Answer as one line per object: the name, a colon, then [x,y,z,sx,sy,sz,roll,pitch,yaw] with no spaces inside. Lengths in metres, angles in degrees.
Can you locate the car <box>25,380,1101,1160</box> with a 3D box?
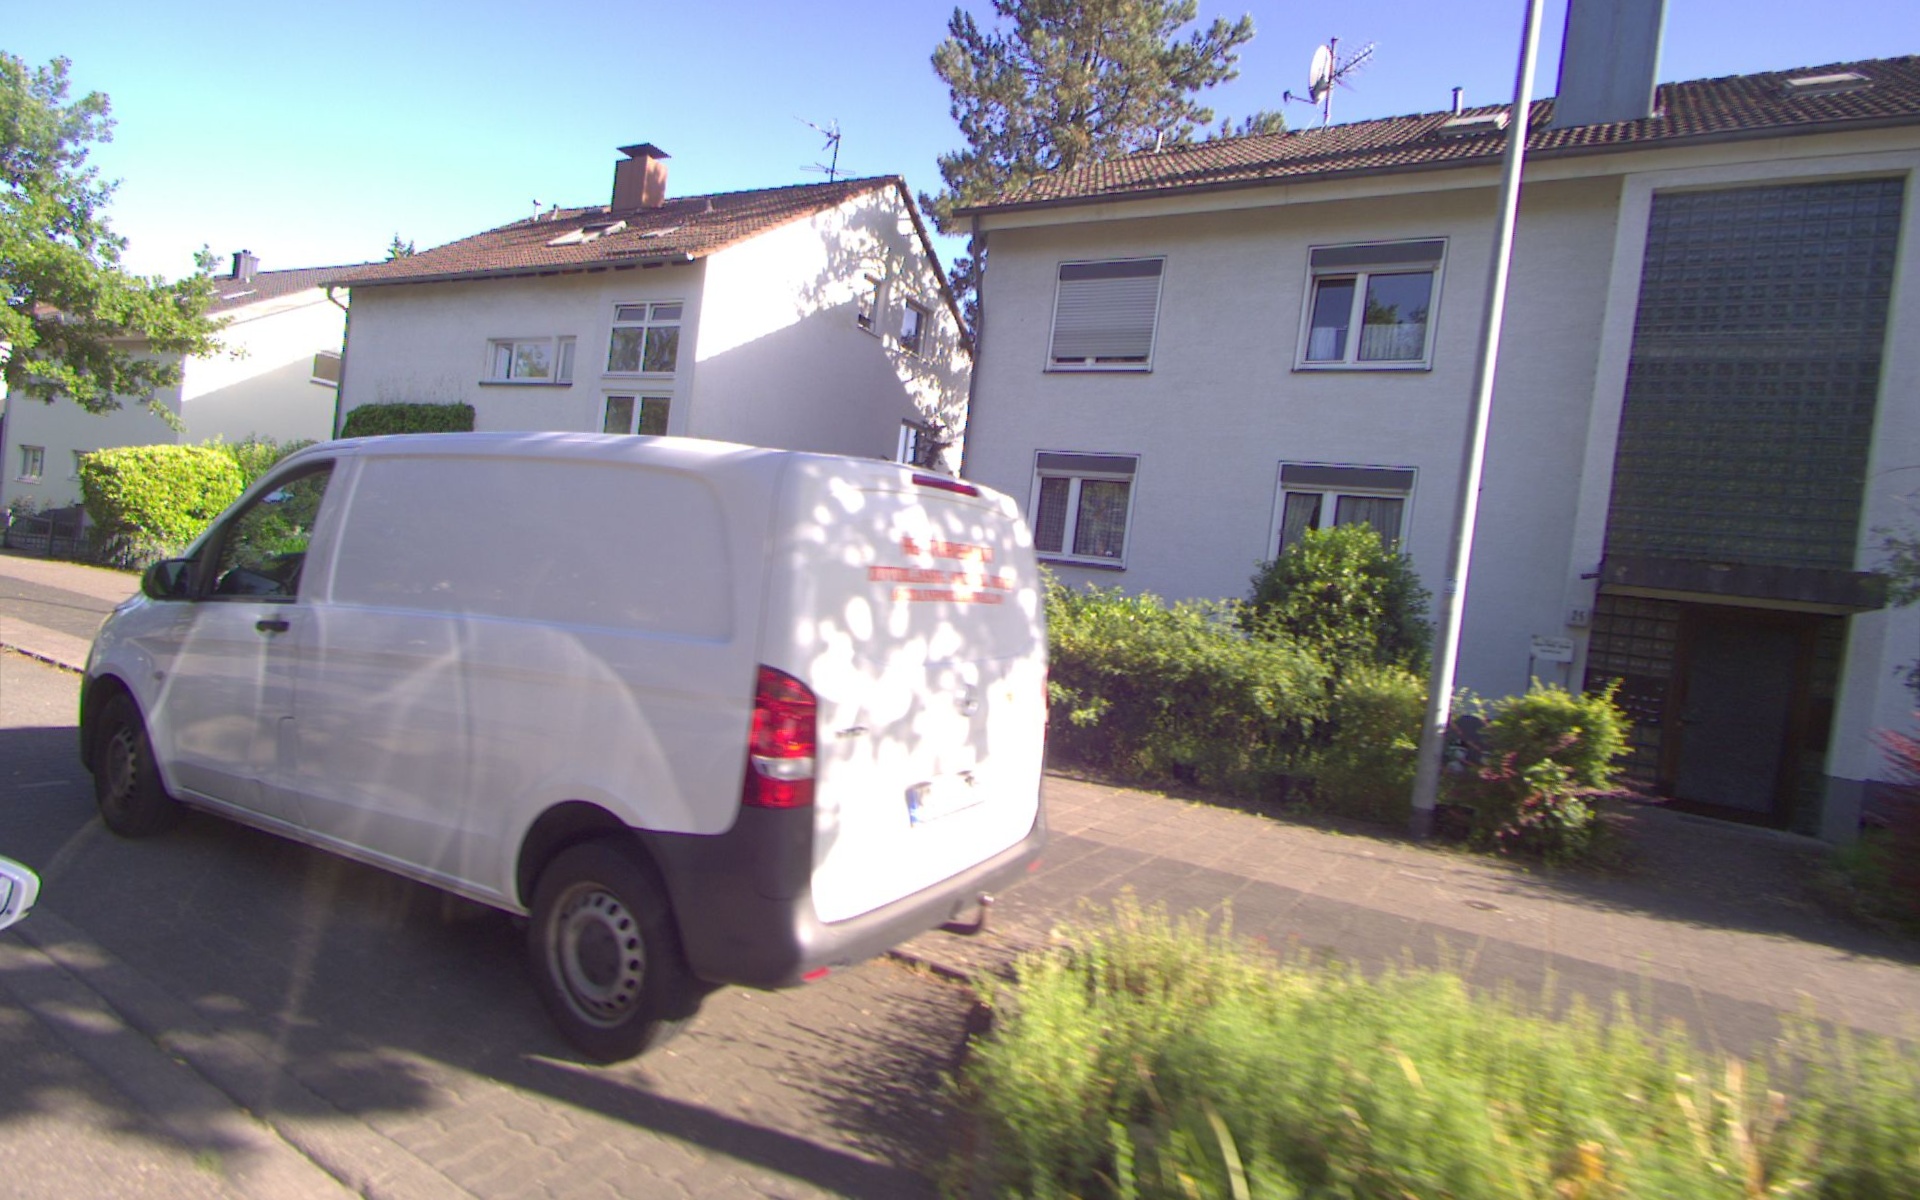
car: [-1.992,0.255,4.519,4.678,1.996,1.838,7,1,30]
